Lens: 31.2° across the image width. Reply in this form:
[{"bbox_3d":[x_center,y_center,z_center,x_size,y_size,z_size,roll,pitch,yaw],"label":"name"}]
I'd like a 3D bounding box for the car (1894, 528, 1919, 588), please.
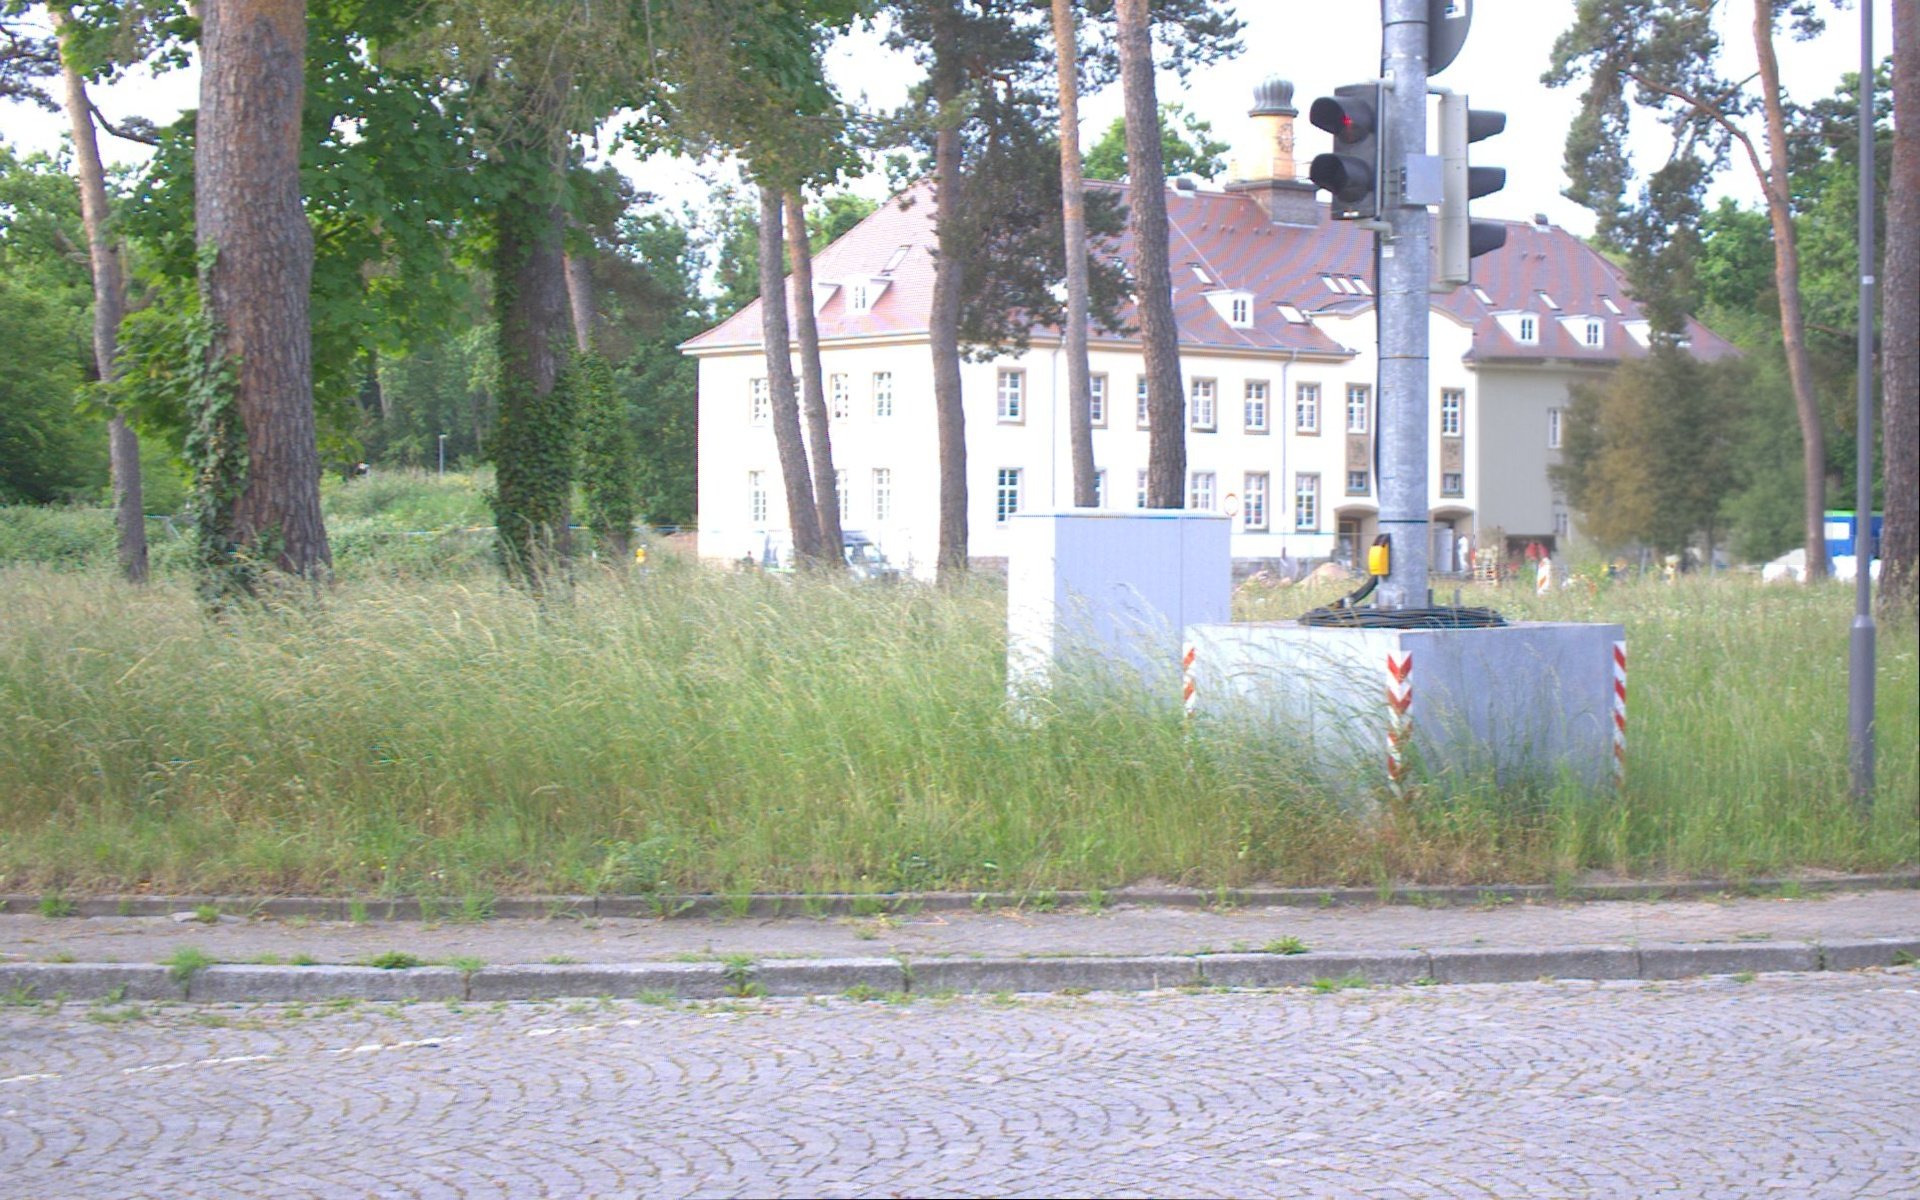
[{"bbox_3d":[35.631,-1.457,123.135,4.332,2.088,2.068,2,-1,-40],"label":"car"}]

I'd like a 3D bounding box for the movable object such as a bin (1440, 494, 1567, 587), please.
[{"bbox_3d":[22.022,-2.378,139.617,2.134,3.629,6.137,2,0,-22],"label":"movable object such as a bin"}]

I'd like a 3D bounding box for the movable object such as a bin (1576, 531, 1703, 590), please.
[{"bbox_3d":[26.864,-1.562,136.021,2.372,2.246,4.521,2,0,-35],"label":"movable object such as a bin"}]
